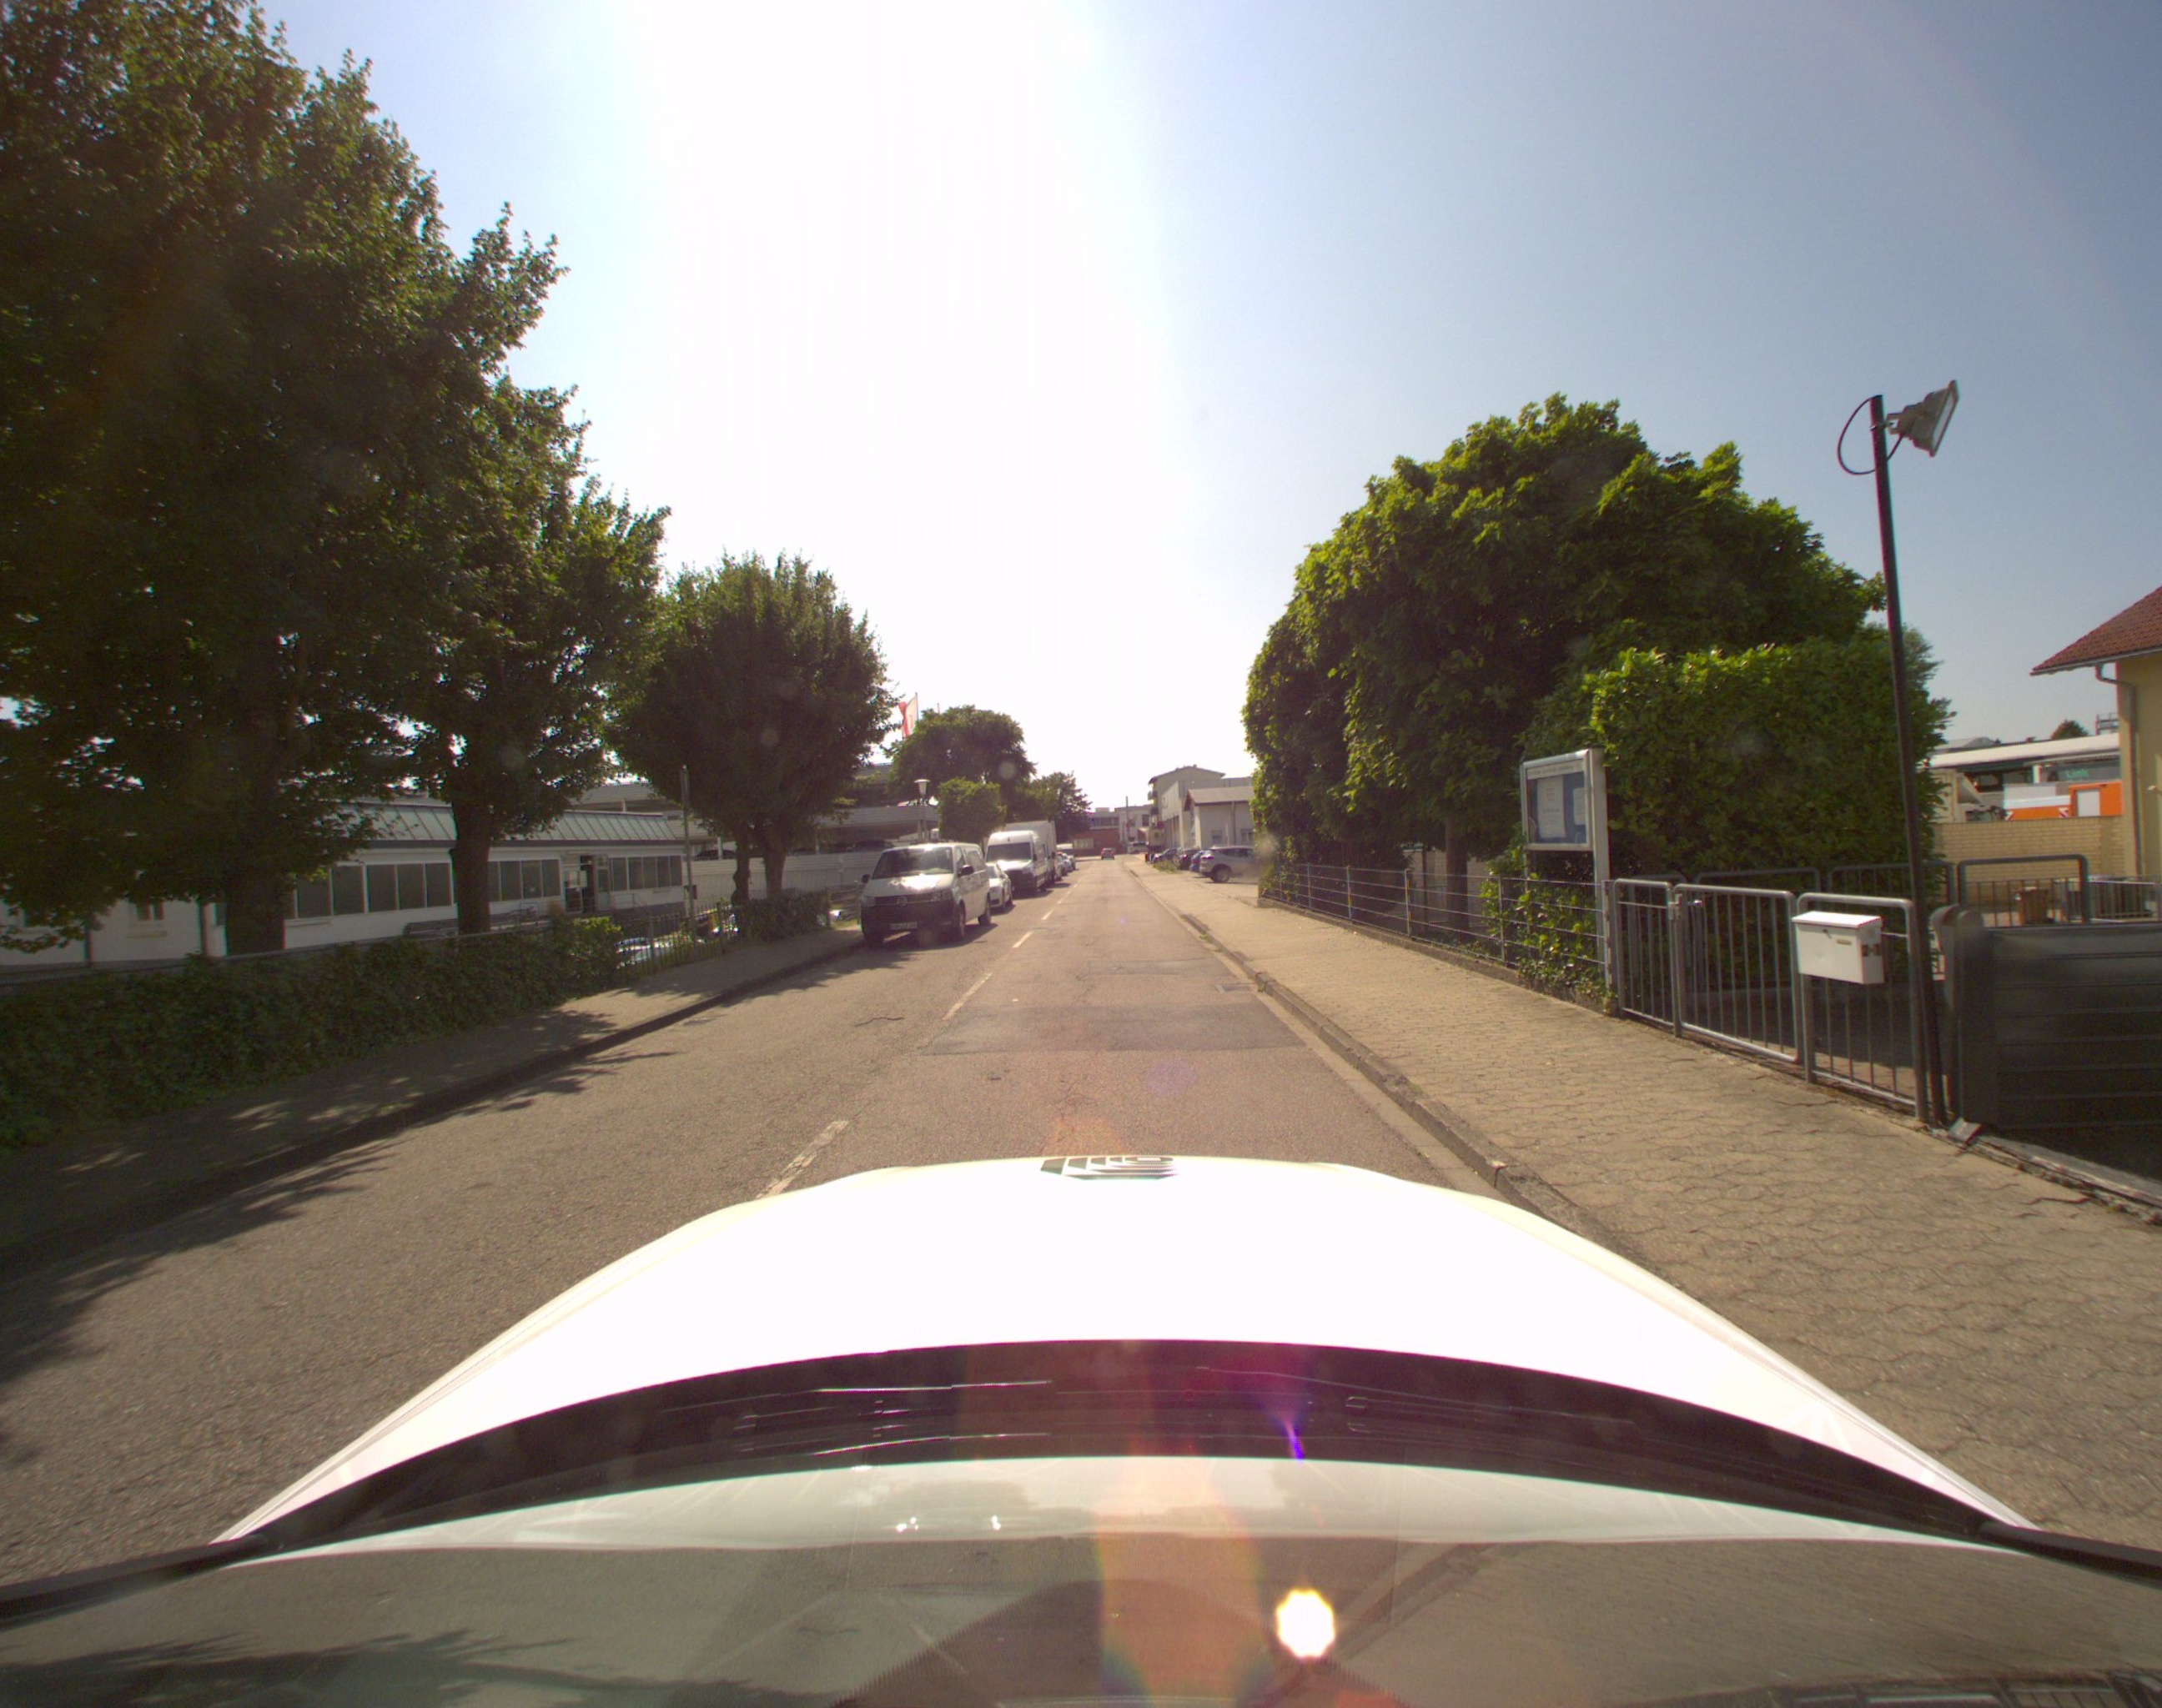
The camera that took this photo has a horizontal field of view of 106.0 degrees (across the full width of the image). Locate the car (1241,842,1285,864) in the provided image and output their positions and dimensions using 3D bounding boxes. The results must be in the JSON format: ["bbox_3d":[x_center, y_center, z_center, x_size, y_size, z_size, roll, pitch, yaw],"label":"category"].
[{"bbox_3d":[13.819,-0.087,62.086,1.759,1.496,4.136,-5,0,-9],"label":"car"}]

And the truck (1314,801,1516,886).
[{"bbox_3d":[13.910,-0.438,34.293,7.489,3.423,2.528,0,0,1],"label":"truck"}]

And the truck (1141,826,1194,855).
[{"bbox_3d":[13.266,-2.078,124.960,7.346,3.645,2.763,-6,1,-5],"label":"truck"}]

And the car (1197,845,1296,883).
[{"bbox_3d":[7.478,0.434,37.145,4.186,1.682,1.767,0,0,1],"label":"car"}]

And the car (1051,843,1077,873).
[{"bbox_3d":[-1.460,0.328,72.303,1.999,2.366,5.229,-6,0,0],"label":"car"}]

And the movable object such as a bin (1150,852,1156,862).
[{"bbox_3d":[7.213,0.340,81.873,0.510,0.946,0.489,-4,0,13],"label":"movable object such as a bin"}]

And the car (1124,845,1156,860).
[{"bbox_3d":[9.691,-0.254,133.271,4.666,1.957,1.905,-4,-1,-17],"label":"car"}]

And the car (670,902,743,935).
[{"bbox_3d":[-21.514,3.669,46.992,1.984,1.442,4.006,-3,0,5],"label":"car"}]

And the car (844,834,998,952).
[{"bbox_3d":[-3.194,0.728,17.414,1.964,2.013,5.058,-5,-1,2],"label":"car"}]

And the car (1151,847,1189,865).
[{"bbox_3d":[8.063,0.170,73.840,3.240,1.398,1.674,-3,0,2],"label":"car"}]

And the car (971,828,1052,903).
[{"bbox_3d":[-2.678,0.434,33.404,2.159,2.596,6.925,-4,-1,3],"label":"car"}]

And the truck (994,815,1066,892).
[{"bbox_3d":[-2.452,-0.001,41.288,2.674,3.366,7.134,-4,-1,2],"label":"truck"}]

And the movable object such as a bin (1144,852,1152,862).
[{"bbox_3d":[6.707,0.344,81.473,0.562,0.946,0.561,-4,0,35],"label":"movable object such as a bin"}]

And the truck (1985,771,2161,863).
[{"bbox_3d":[41.204,-1.492,32.937,5.656,3.362,2.930,-3,0,4],"label":"truck"}]

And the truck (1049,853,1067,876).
[{"bbox_3d":[-1.779,0.789,63.517,1.135,1.622,3.140,-5,0,0],"label":"truck"}]

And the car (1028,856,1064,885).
[{"bbox_3d":[-2.043,0.944,48.089,1.735,1.521,4.311,-3,0,2],"label":"car"}]

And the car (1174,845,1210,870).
[{"bbox_3d":[7.621,0.197,56.400,1.852,1.567,4.953,-3,0,1],"label":"car"}]

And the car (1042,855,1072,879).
[{"bbox_3d":[-1.674,0.908,57.730,1.698,1.463,4.116,-4,0,2],"label":"car"}]

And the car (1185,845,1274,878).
[{"bbox_3d":[7.845,0.402,43.198,4.337,1.441,1.892,-3,0,1],"label":"car"}]

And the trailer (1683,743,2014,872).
[{"bbox_3d":[26.966,-1.530,29.047,8.290,3.863,3.073,-3,-1,7],"label":"trailer"}]

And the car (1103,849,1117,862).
[{"bbox_3d":[3.924,0.245,111.319,1.883,1.685,3.959,0,0,1],"label":"car"}]

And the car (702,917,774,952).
[{"bbox_3d":[-19.032,4.463,45.401,1.984,1.442,4.006,-4,0,5],"label":"car"}]

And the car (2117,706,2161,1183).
[{"bbox_3d":[5.923,0.197,2.016,4.390,1.653,1.843,-3,0,-1],"label":"car"}]

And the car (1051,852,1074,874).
[{"bbox_3d":[-1.583,0.756,67.125,1.701,1.624,3.969,-4,0,-3],"label":"car"}]

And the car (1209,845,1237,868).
[{"bbox_3d":[10.316,0.156,59.297,1.751,1.595,3.624,0,1,5],"label":"car"}]

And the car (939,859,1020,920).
[{"bbox_3d":[-2.951,1.001,24.585,1.708,1.544,4.401,-5,-1,0],"label":"car"}]
